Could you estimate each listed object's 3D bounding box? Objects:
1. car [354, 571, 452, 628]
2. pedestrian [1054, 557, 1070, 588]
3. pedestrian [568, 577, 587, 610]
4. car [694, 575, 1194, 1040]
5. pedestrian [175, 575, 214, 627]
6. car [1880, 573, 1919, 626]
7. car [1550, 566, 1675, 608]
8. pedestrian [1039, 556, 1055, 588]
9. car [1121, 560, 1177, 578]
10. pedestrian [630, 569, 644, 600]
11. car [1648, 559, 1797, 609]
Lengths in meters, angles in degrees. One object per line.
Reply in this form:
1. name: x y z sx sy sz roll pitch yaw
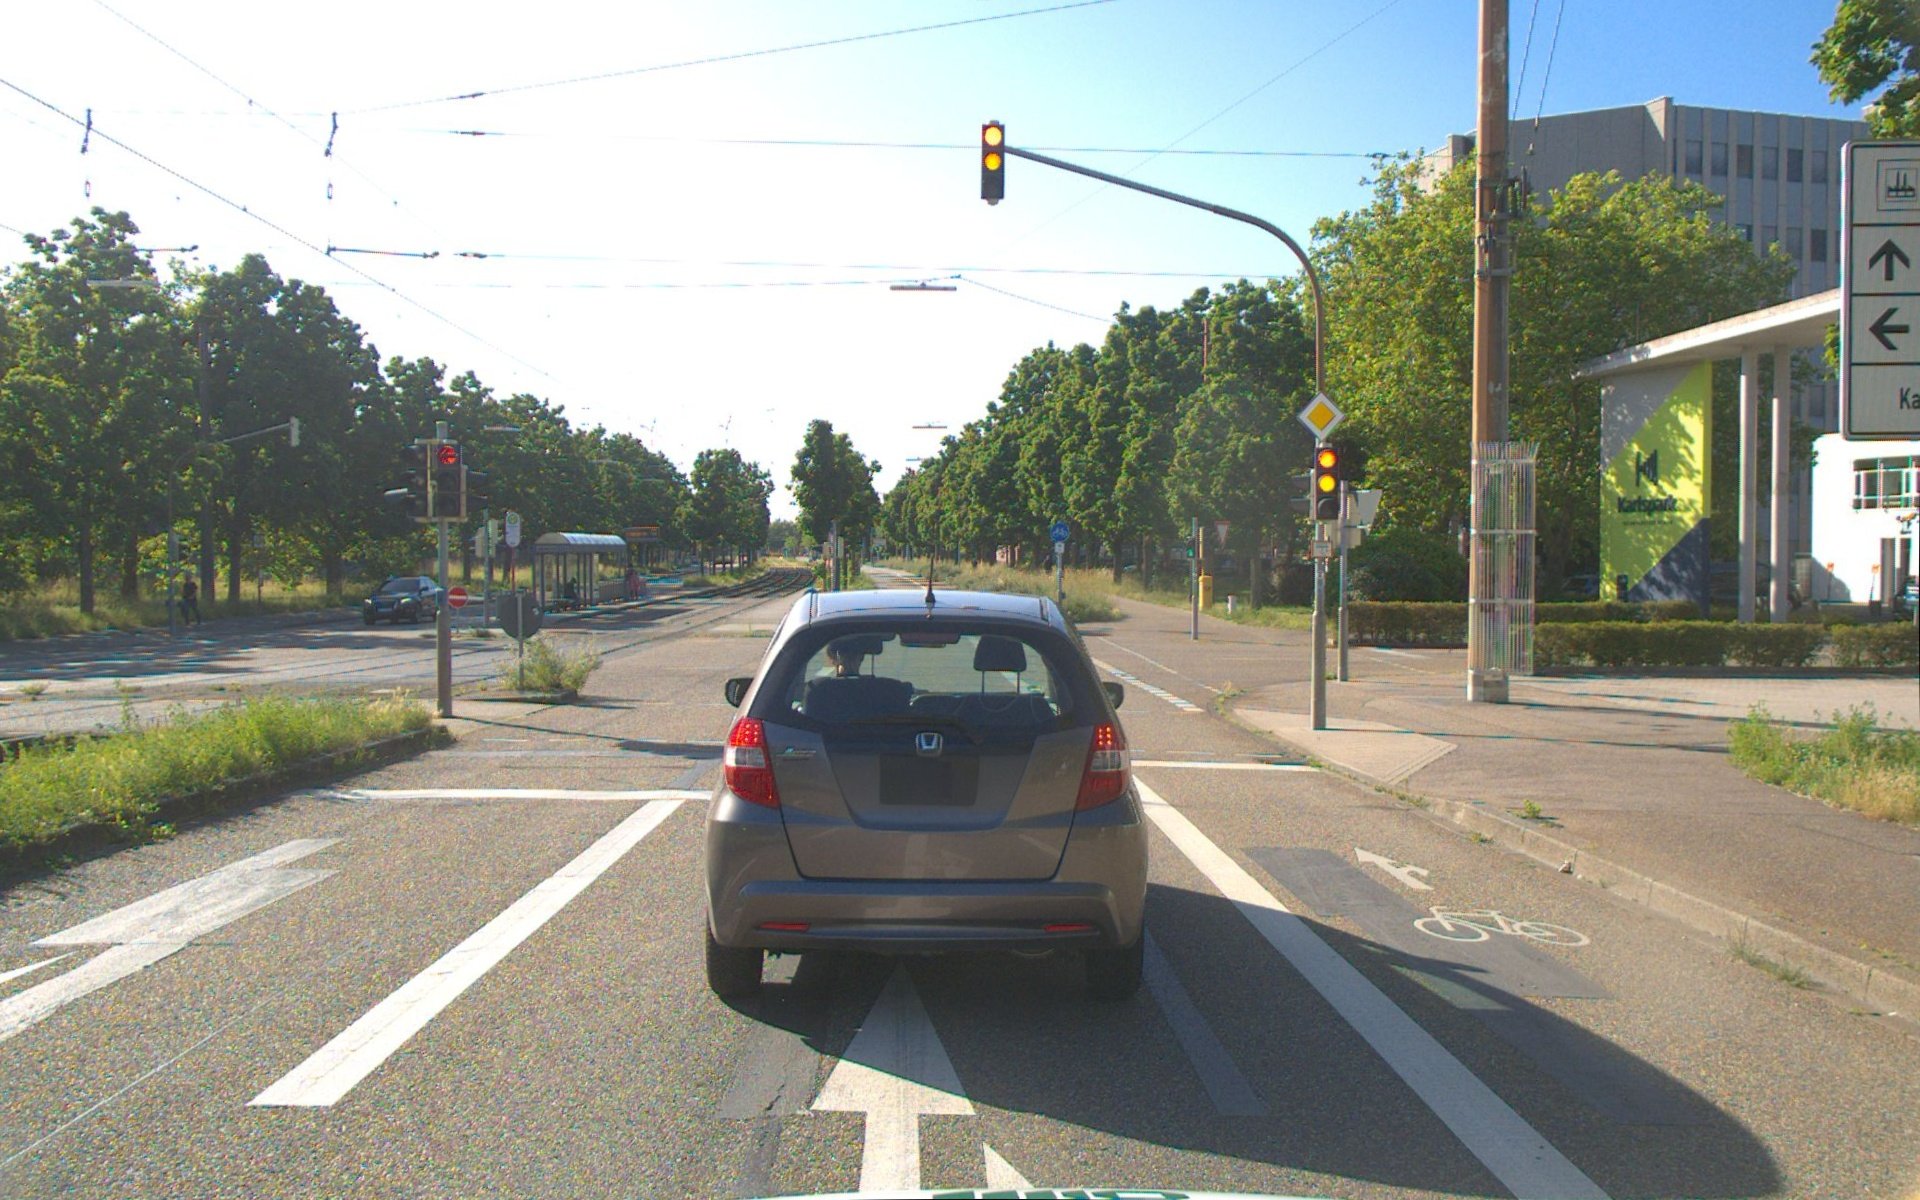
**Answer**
1. car: -20.163 -0.065 60.085 2.052 1.841 4.791 -2 2 -3
2. pedestrian: 6.242 -1.710 101.652 0.865 1.917 0.875 0 1 -5
3. pedestrian: -15.093 -0.258 65.296 0.552 1.279 0.580 -2 0 -2
4. car: -0.076 0.695 7.411 1.666 1.550 3.709 1 0 -1
5. pedestrian: -26.313 0.017 56.851 0.744 1.764 0.936 0 1 27
6. car: 30.634 -0.021 50.727 3.914 1.605 1.950 0 1 -10
7. car: 26.637 -0.545 67.596 4.371 1.715 1.892 0 1 -7
8. pedestrian: 5.322 -1.726 101.618 0.865 1.917 0.875 0 1 -5
9. car: 16.540 -2.731 144.803 4.543 1.582 1.997 -1 1 -7
10. pedestrian: -15.582 -0.758 79.849 0.533 1.473 0.559 -1 0 -1
11. car: 28.003 -0.613 60.754 4.803 1.787 2.083 0 1 -16
